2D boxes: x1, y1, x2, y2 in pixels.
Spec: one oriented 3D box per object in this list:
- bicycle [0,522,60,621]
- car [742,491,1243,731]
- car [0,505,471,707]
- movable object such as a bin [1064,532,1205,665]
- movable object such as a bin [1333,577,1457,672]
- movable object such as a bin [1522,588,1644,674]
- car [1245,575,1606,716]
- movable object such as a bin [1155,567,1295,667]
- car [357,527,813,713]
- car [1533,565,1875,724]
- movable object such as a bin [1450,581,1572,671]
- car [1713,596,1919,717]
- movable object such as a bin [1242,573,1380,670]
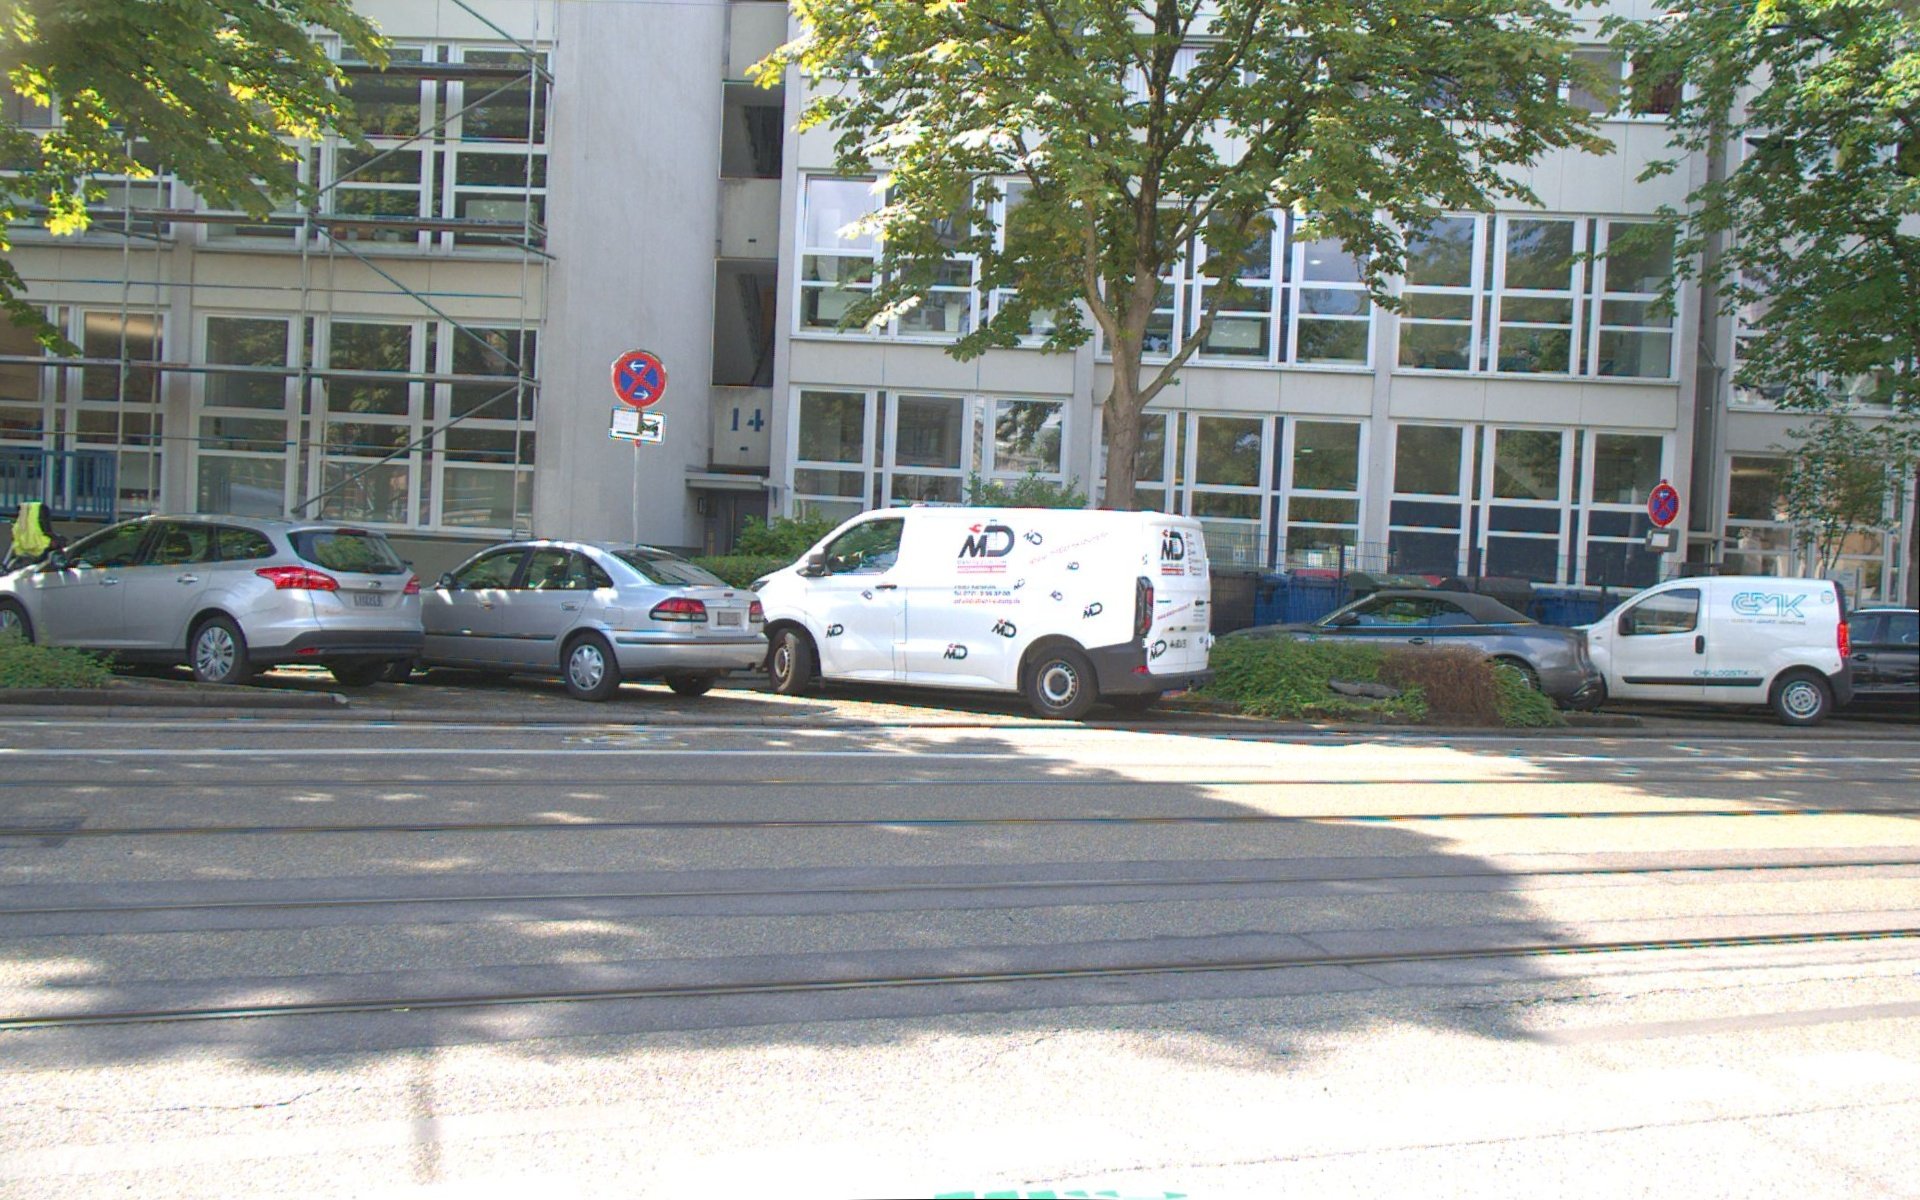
[{"bbox_3d":[-11.675,-0.348,20.102,0.529,1.182,1.581,1,1,3],"label":"bicycle"},{"bbox_3d":[0.295,0.028,16.599,4.582,2.032,1.966,3,1,28],"label":"car"},{"bbox_3d":[-6.701,-0.005,15.012,4.096,1.526,1.821,3,1,24],"label":"car"},{"bbox_3d":[2.505,-0.005,23.868,1.514,1.813,1.381,3,-2,-25],"label":"movable object such as a bin"},{"bbox_3d":[6.747,0.386,25.688,1.418,1.405,1.187,3,-2,-24],"label":"movable object such as a bin"},{"bbox_3d":[10.032,0.505,26.668,1.417,1.306,1.164,3,-2,-22],"label":"movable object such as a bin"},{"bbox_3d":[5.466,0.507,19.540,3.904,1.442,1.723,2,-1,18],"label":"car"},{"bbox_3d":[3.912,0.263,24.485,1.514,1.388,1.381,3,-2,-25],"label":"movable object such as a bin"},{"bbox_3d":[-3.653,0.128,16.026,4.078,1.475,1.820,3,1,27],"label":"car"},{"bbox_3d":[9.060,0.507,20.272,3.631,1.722,1.758,2,-1,26],"label":"car"},{"bbox_3d":[8.695,0.418,26.124,1.417,1.351,1.160,3,-2,-22],"label":"movable object such as a bin"},{"bbox_3d":[11.962,0.738,21.472,3.907,1.442,1.759,2,-1,24],"label":"car"},{"bbox_3d":[5.318,0.337,25.134,1.514,1.388,1.381,3,-2,-25],"label":"movable object such as a bin"}]
